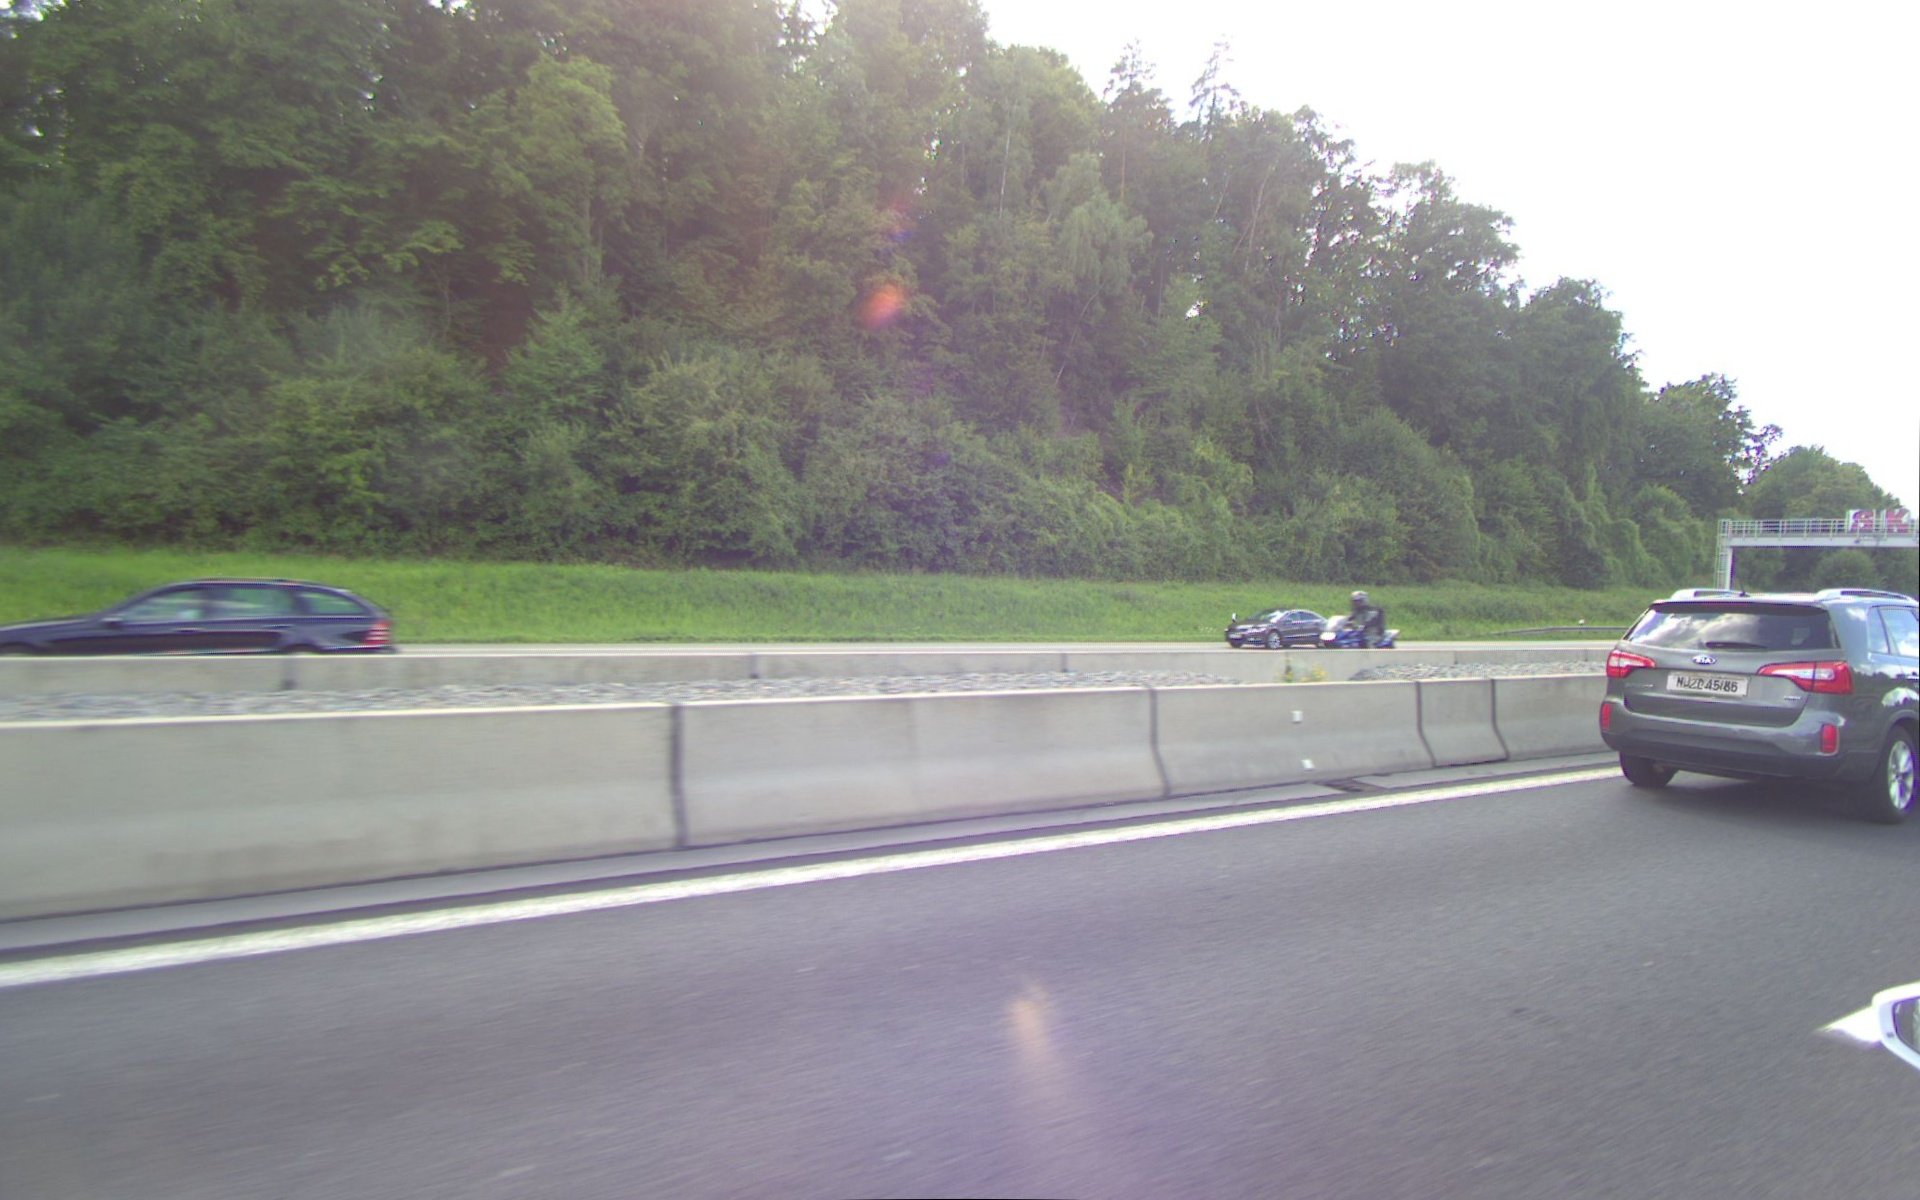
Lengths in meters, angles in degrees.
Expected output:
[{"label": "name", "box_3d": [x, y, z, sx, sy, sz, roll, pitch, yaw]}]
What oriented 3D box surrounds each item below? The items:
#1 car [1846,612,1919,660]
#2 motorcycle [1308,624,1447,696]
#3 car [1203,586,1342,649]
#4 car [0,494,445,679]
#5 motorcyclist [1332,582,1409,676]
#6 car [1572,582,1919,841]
[{"label": "car", "box_3d": [31.404, 1.176, 33.324, 4.245, 1.480, 1.752, 1, 0, -30]}, {"label": "motorcycle", "box_3d": [7.608, 1.067, 18.263, 2.607, 1.204, 0.918, 1, 0, -29]}, {"label": "car", "box_3d": [10.942, 0.611, 35.059, 4.727, 2.061, 2.014, 1, 0, -32]}, {"label": "car", "box_3d": [-9.314, -0.096, 12.900, 4.720, 2.040, 1.985, 2, 0, -29]}, {"label": "motorcyclist", "box_3d": [7.400, 0.510, 18.130, 0.911, 1.655, 0.891, 1, 1, -29]}, {"label": "car", "box_3d": [7.781, 0.796, 8.913, 5.126, 1.759, 1.809, 1, 0, -31]}]
